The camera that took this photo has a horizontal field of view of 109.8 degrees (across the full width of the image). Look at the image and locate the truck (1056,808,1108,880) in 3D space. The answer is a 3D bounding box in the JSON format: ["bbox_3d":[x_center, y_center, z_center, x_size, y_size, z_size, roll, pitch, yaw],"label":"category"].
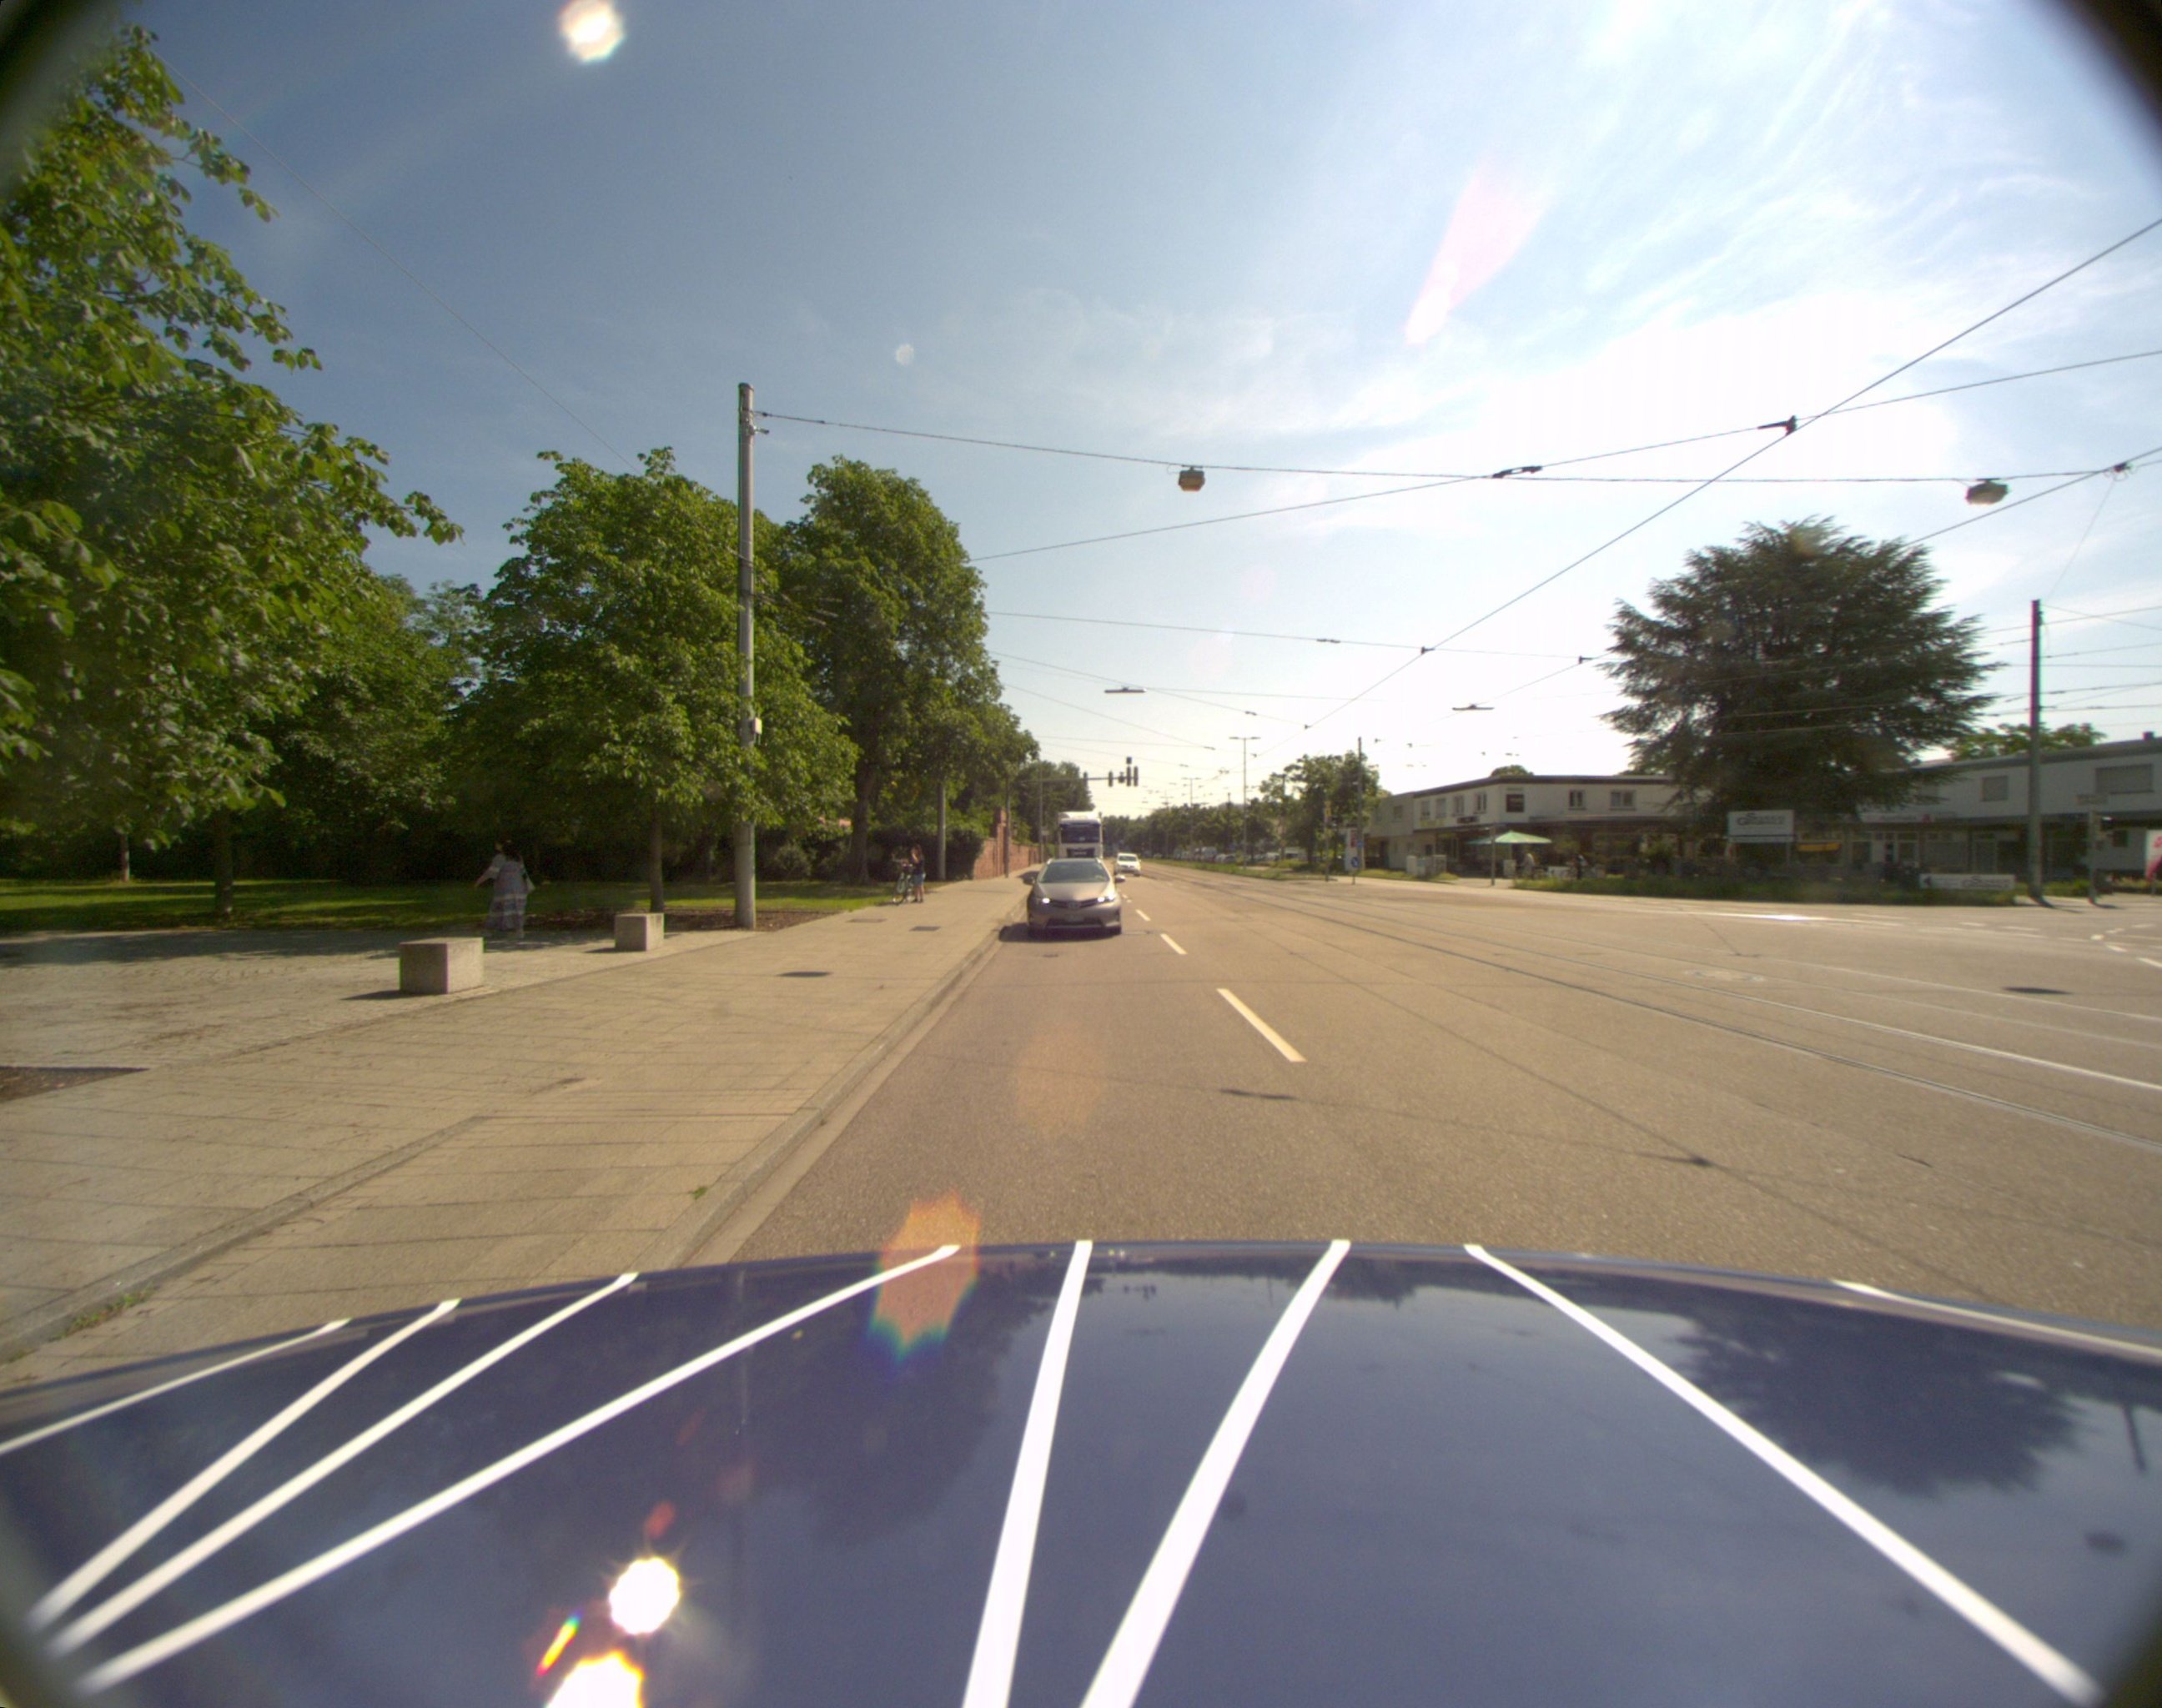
[{"bbox_3d":[0.120,-0.567,46.495,2.746,3.852,9.110,2,0,1],"label":"truck"}]

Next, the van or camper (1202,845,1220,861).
[{"bbox_3d":[20.737,-0.176,121.773,2.040,2.617,4.839,1,0,0],"label":"van or camper"}]

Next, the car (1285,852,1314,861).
[{"bbox_3d":[31.060,0.361,108.158,3.624,1.353,1.712,1,1,-1],"label":"car"}]

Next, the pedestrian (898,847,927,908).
[{"bbox_3d":[-4.443,0.610,20.058,0.542,1.540,0.663,3,1,0],"label":"pedestrian"}]

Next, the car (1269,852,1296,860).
[{"bbox_3d":[31.427,0.294,118.589,3.624,1.274,1.812,1,0,-1],"label":"car"}]

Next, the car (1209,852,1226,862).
[{"bbox_3d":[20.875,0.481,116.363,1.892,1.486,4.232,1,0,0],"label":"car"}]

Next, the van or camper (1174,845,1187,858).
[{"bbox_3d":[21.577,-0.522,164.796,2.114,2.604,5.452,2,1,1],"label":"van or camper"}]

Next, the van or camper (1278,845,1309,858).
[{"bbox_3d":[45.488,-0.576,163.010,6.081,2.715,2.299,1,1,3],"label":"van or camper"}]

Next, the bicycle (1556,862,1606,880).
[{"bbox_3d":[25.964,0.879,39.482,0.577,0.885,2.131,0,0,-28],"label":"bicycle"}]

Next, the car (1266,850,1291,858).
[{"bbox_3d":[32.166,0.049,123.719,3.624,1.274,1.712,1,0,-1],"label":"car"}]

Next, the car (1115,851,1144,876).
[{"bbox_3d":[3.285,0.616,52.118,1.770,1.552,4.067,2,0,1],"label":"car"}]

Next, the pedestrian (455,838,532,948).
[{"bbox_3d":[-9.187,0.597,11.902,0.707,1.672,0.652,0,1,-2],"label":"pedestrian"}]

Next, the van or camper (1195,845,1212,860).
[{"bbox_3d":[20.705,-0.254,128.829,2.040,2.617,4.839,1,0,0],"label":"van or camper"}]

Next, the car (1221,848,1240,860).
[{"bbox_3d":[20.779,0.005,105.641,1.892,1.486,4.285,-2,0,2],"label":"car"}]

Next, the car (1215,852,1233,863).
[{"bbox_3d":[20.881,0.473,111.012,1.892,1.551,4.285,1,0,0],"label":"car"}]

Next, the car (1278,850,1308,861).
[{"bbox_3d":[30.894,0.148,110.626,3.749,1.560,1.951,1,1,-1],"label":"car"}]

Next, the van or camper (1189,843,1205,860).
[{"bbox_3d":[20.814,-0.512,136.719,2.128,2.967,5.281,1,0,0],"label":"van or camper"}]

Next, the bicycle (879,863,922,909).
[{"bbox_3d":[-4.733,0.817,20.035,0.537,1.105,1.807,1,1,6],"label":"bicycle"}]

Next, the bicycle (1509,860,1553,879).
[{"bbox_3d":[24.313,0.821,41.102,0.536,0.941,2.132,0,0,-23],"label":"bicycle"}]

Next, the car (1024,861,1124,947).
[{"bbox_3d":[-0.084,0.901,15.619,1.742,1.424,4.462,-1,0,1],"label":"car"}]

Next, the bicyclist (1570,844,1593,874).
[{"bbox_3d":[25.984,0.245,39.484,0.633,1.565,0.764,0,1,-27],"label":"bicyclist"}]

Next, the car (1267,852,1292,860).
[{"bbox_3d":[31.785,0.276,121.596,3.624,1.274,1.712,1,0,-1],"label":"car"}]

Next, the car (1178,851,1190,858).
[{"bbox_3d":[21.435,0.107,158.035,1.892,1.551,4.232,1,0,0],"label":"car"}]

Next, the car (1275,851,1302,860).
[{"bbox_3d":[30.823,0.205,112.953,3.624,1.277,1.712,1,0,-1],"label":"car"}]

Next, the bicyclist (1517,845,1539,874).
[{"bbox_3d":[24.248,0.274,41.196,0.633,1.549,0.764,1,1,-24],"label":"bicyclist"}]
